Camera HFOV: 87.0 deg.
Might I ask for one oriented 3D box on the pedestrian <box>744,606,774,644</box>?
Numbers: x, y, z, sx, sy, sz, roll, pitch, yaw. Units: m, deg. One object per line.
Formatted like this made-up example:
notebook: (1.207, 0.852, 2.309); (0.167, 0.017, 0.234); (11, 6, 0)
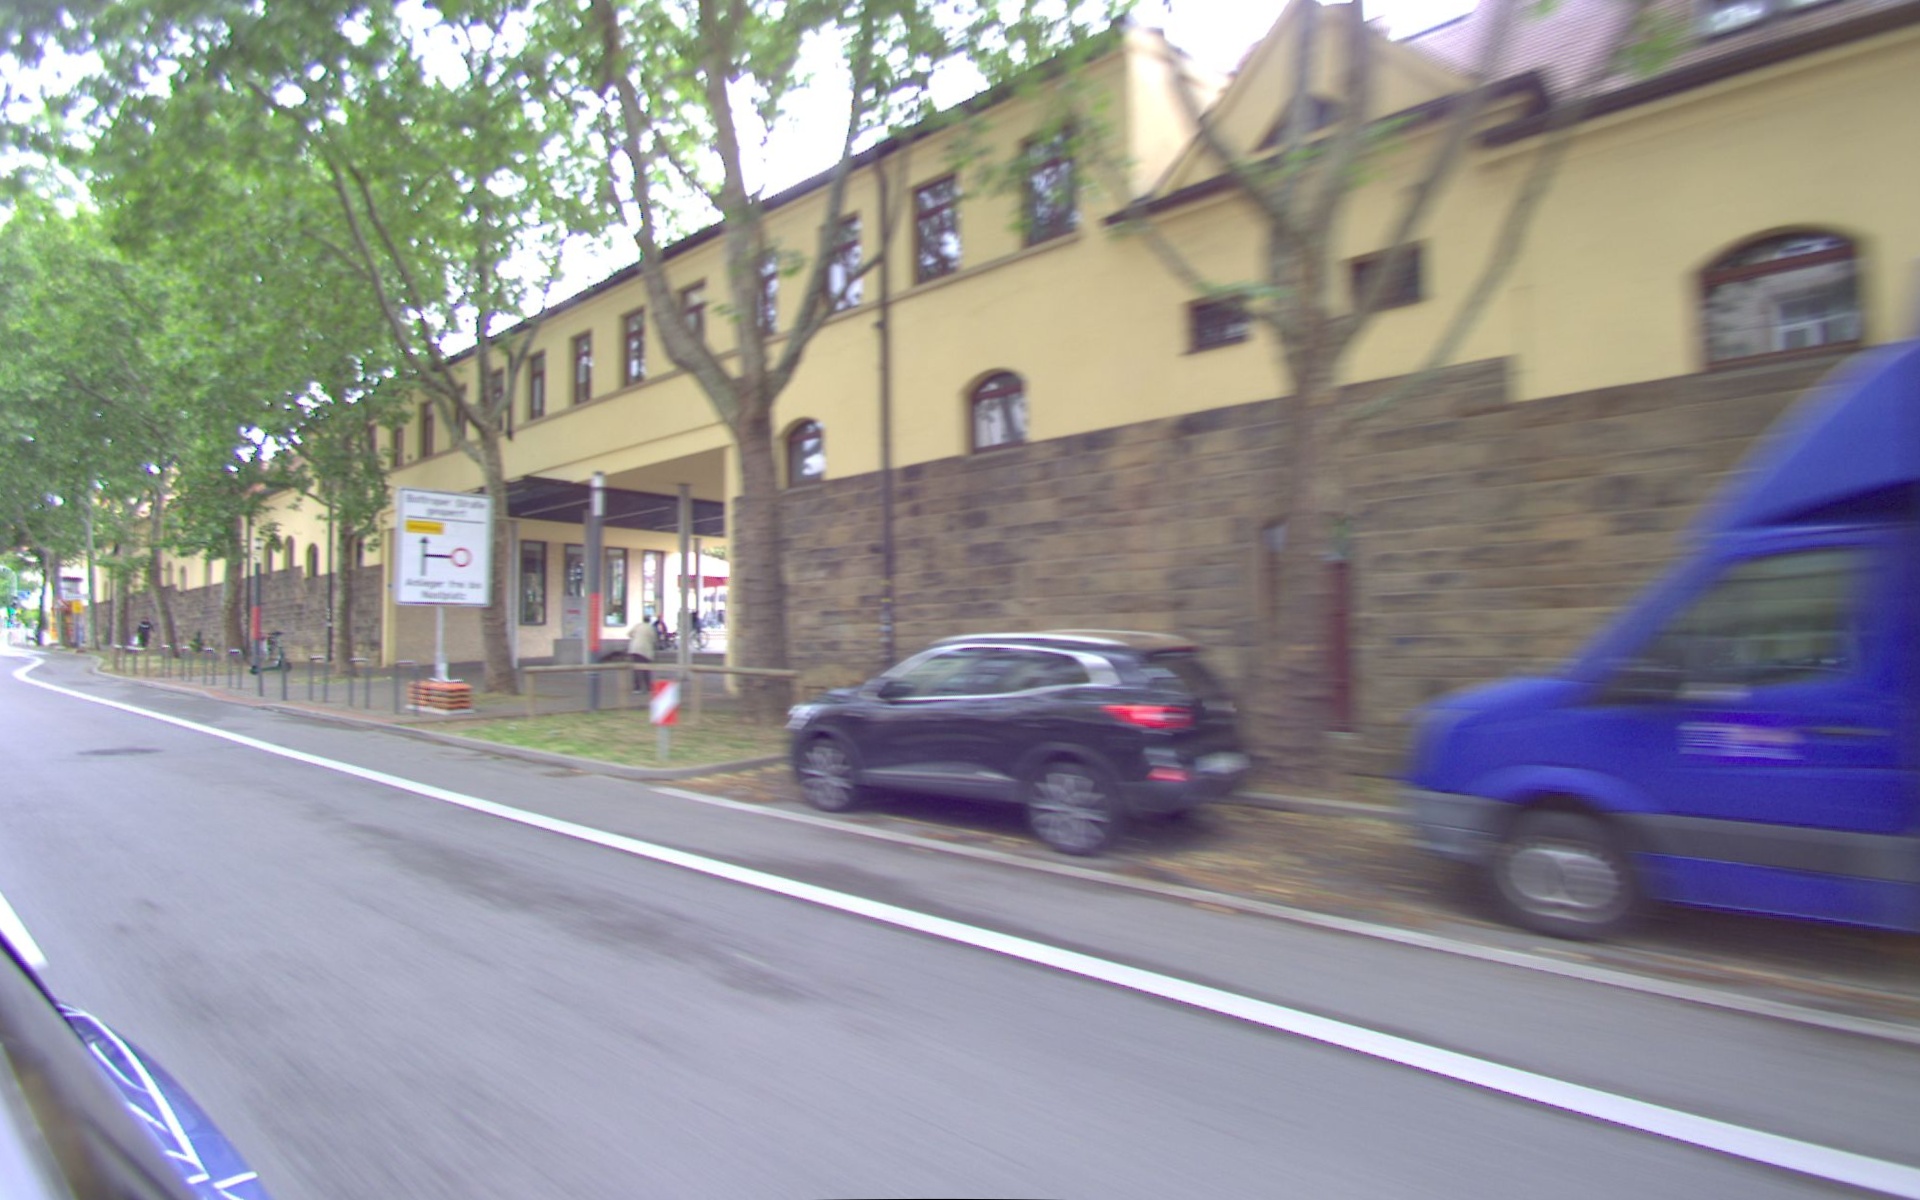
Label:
pedestrian: (-8.307, 1.028, 41.770); (0.964, 1.534, 0.800); (-1, -1, 41)

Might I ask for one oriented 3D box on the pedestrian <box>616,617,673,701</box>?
pedestrian: (-6.672, 1.218, 21.390); (0.851, 1.700, 0.928); (0, -1, -40)

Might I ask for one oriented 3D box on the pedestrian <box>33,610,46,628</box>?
pedestrian: (-108.336, 2.243, 119.067); (1.097, 2.005, 1.029); (-1, 0, 43)

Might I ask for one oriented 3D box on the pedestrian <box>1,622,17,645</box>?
pedestrian: (-71.632, 2.494, 76.220); (0.932, 1.699, 0.843); (-1, 0, 43)

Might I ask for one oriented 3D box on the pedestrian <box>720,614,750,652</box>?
pedestrian: (-9.433, 1.380, 42.433); (0.964, 1.534, 0.800); (-2, -1, 41)

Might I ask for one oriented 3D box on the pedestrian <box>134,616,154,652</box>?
pedestrian: (-42.894, 1.791, 53.177); (0.816, 1.890, 0.664); (-2, -2, 43)

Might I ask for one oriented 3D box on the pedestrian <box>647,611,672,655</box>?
pedestrian: (-10.539, 1.142, 35.493); (0.760, 1.500, 0.567); (0, 0, 43)

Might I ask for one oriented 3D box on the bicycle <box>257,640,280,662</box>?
bicycle: (-27.682, 2.027, 40.489); (1.775, 0.852, 0.332); (-1, -2, 42)

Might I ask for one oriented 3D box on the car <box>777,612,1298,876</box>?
car: (0.478, 0.966, 8.652); (4.250, 1.702, 1.713); (-1, 0, 40)

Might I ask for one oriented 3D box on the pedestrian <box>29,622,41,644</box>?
pedestrian: (-69.878, 2.503, 76.455); (0.549, 1.675, 0.617); (-1, 0, 43)

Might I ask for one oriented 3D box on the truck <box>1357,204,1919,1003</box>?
truck: (5.795, -0.012, 4.378); (7.242, 3.442, 2.192); (-1, -1, 40)

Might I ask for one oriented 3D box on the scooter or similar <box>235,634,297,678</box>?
scooter or similar: (-20.864, 1.662, 30.463); (0.443, 1.249, 1.611); (-1, -1, 19)

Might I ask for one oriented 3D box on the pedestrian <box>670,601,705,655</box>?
pedestrian: (-9.180, 0.943, 34.128); (0.799, 1.804, 0.905); (0, -2, -44)
